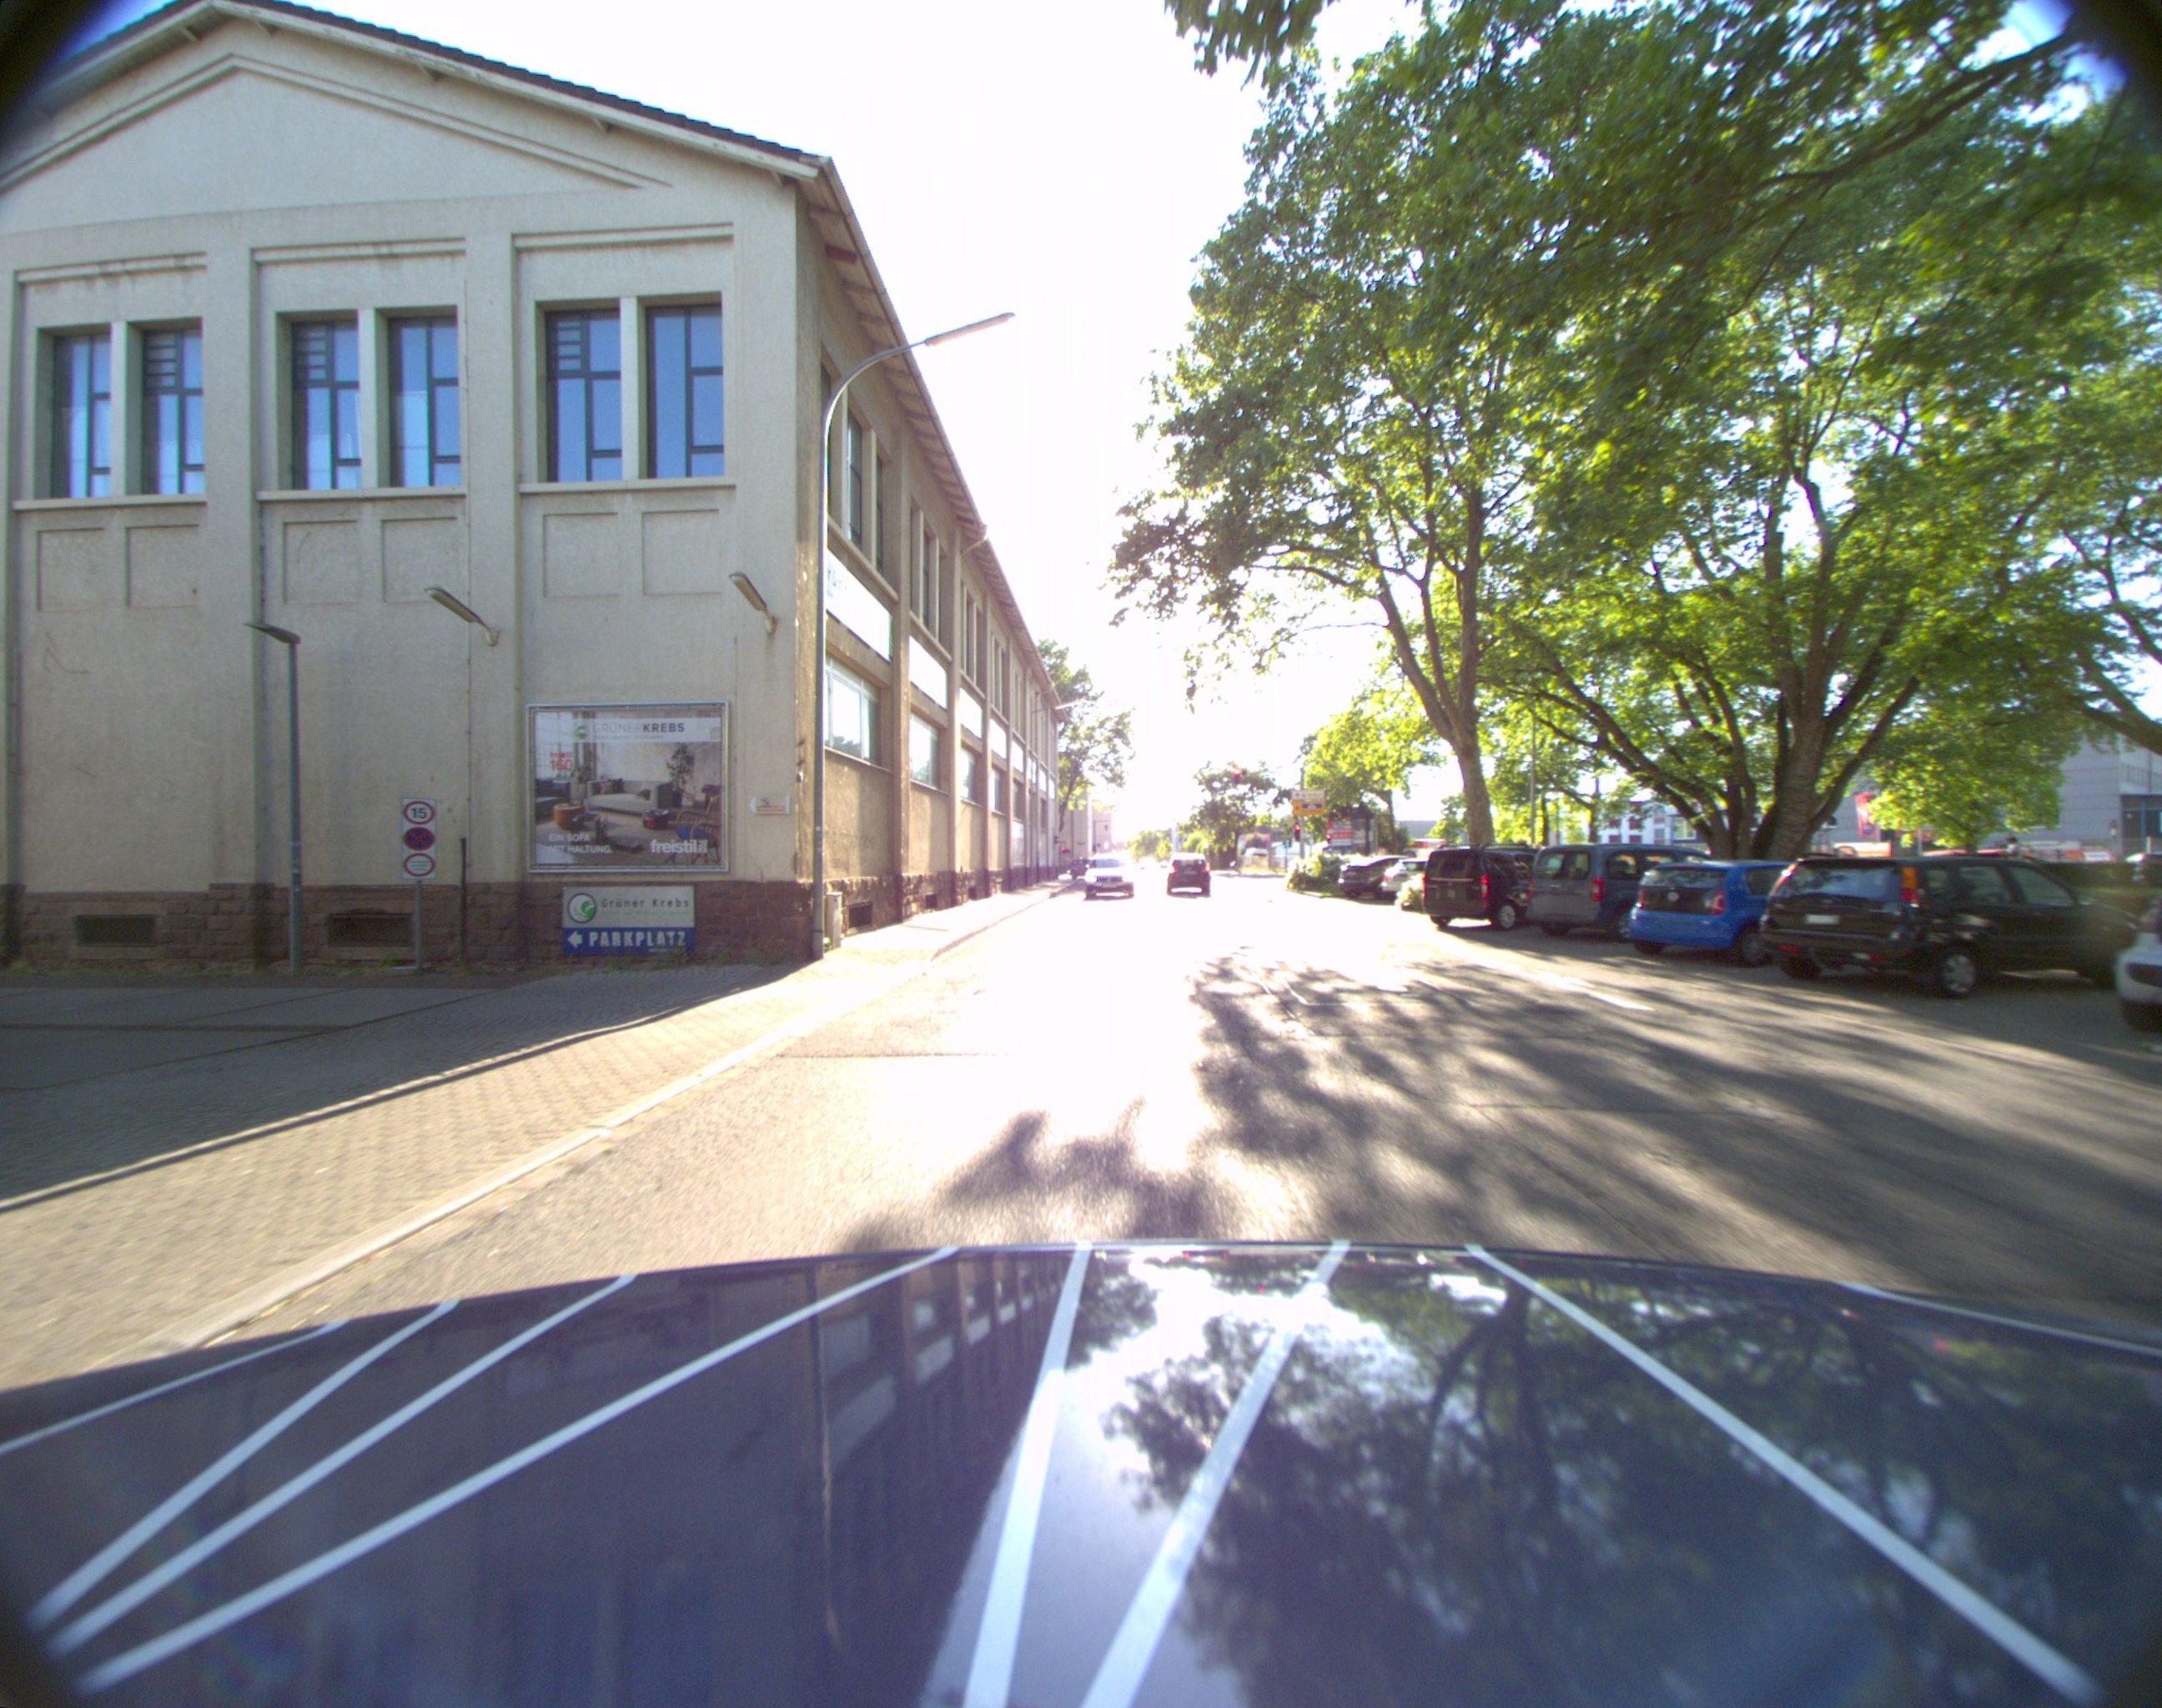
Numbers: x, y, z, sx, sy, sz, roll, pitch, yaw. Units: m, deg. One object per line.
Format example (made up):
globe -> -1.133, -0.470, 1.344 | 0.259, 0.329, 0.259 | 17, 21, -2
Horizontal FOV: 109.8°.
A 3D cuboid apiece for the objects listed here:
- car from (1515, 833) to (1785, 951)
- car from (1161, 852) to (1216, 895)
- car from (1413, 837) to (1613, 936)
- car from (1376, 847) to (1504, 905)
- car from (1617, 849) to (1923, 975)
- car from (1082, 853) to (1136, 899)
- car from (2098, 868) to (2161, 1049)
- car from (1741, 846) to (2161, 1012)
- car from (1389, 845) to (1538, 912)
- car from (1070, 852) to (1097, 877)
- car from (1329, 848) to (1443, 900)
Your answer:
car -> 10.573, 0.638, 14.228 | 4.001, 1.871, 1.832 | -2, 1, -12
car -> 4.496, 0.771, 32.343 | 1.964, 1.633, 4.001 | -2, 1, 4
car -> 9.572, 0.645, 16.850 | 4.004, 1.875, 1.714 | -3, 1, -22
car -> 11.814, 0.681, 24.976 | 4.005, 1.633, 1.713 | -3, 1, -28
car -> 10.263, 0.777, 11.392 | 3.601, 1.552, 1.648 | -2, 1, -14
car -> 1.059, 0.786, 29.099 | 1.854, 1.527, 3.857 | -3, 1, 2
car -> 10.841, 0.823, 6.315 | 3.652, 1.453, 1.703 | -2, 1, -17
car -> 10.429, 0.763, 9.033 | 4.000, 1.615, 1.796 | -1, 1, -10
car -> 11.057, 0.652, 21.950 | 4.005, 1.633, 1.713 | -3, 1, -25
car -> 0.141, 0.720, 54.879 | 1.819, 1.633, 3.999 | -2, 1, -1
car -> 11.107, 0.679, 27.590 | 4.006, 1.633, 1.713 | -3, 1, -30
